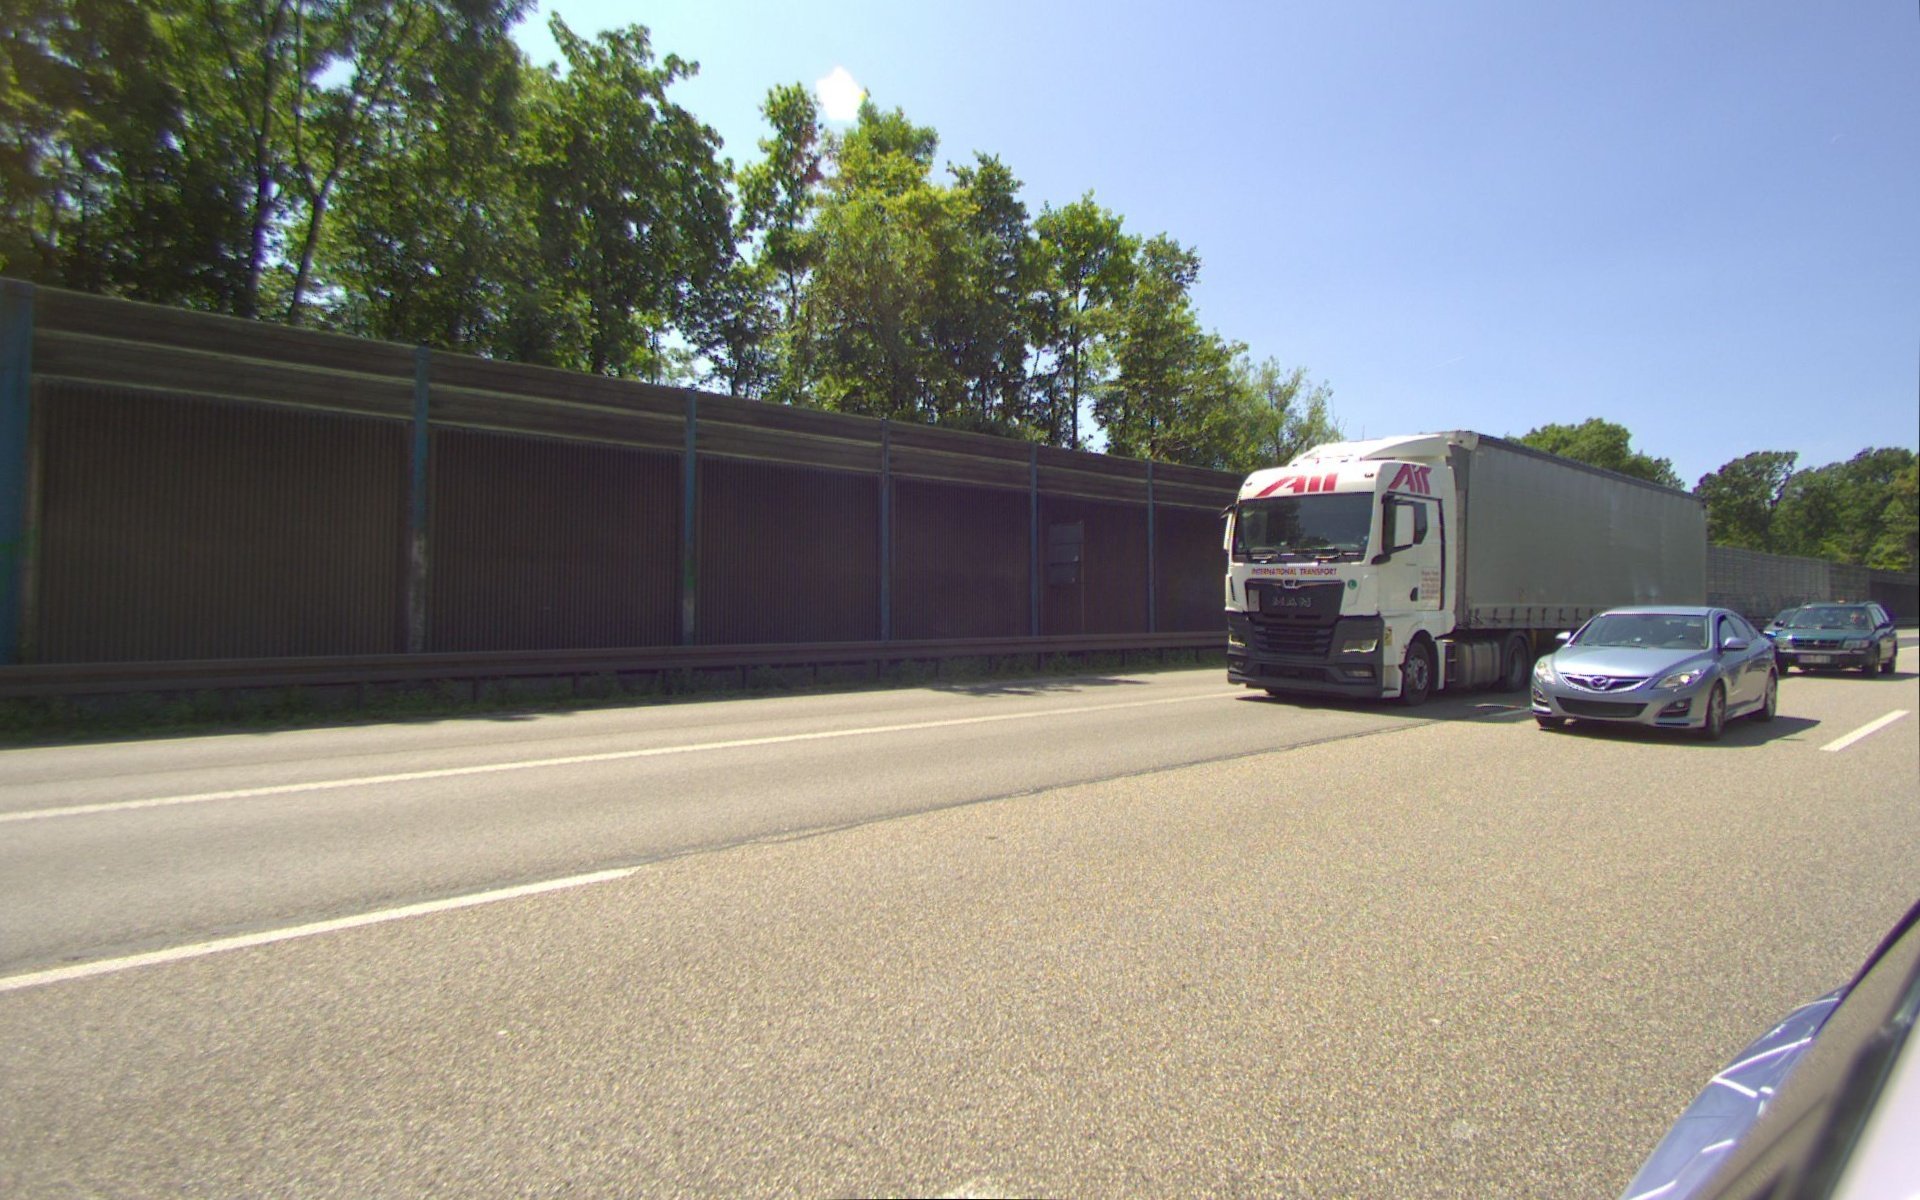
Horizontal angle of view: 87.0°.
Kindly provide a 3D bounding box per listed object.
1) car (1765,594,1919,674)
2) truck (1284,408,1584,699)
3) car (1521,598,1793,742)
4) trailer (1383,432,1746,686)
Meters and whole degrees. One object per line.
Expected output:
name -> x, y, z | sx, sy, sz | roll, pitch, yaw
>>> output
car -> 19.114, 0.690, 21.802 | 3.926, 1.579, 1.907 | 1, -1, -38
truck -> 8.151, -0.675, 17.171 | 5.454, 4.142, 2.603 | 0, 0, -40
car -> 8.564, 0.727, 12.303 | 4.105, 1.452, 1.858 | 1, -1, -43
trailer -> 13.642, -0.671, 21.854 | 13.351, 4.142, 2.603 | 0, 0, -40
